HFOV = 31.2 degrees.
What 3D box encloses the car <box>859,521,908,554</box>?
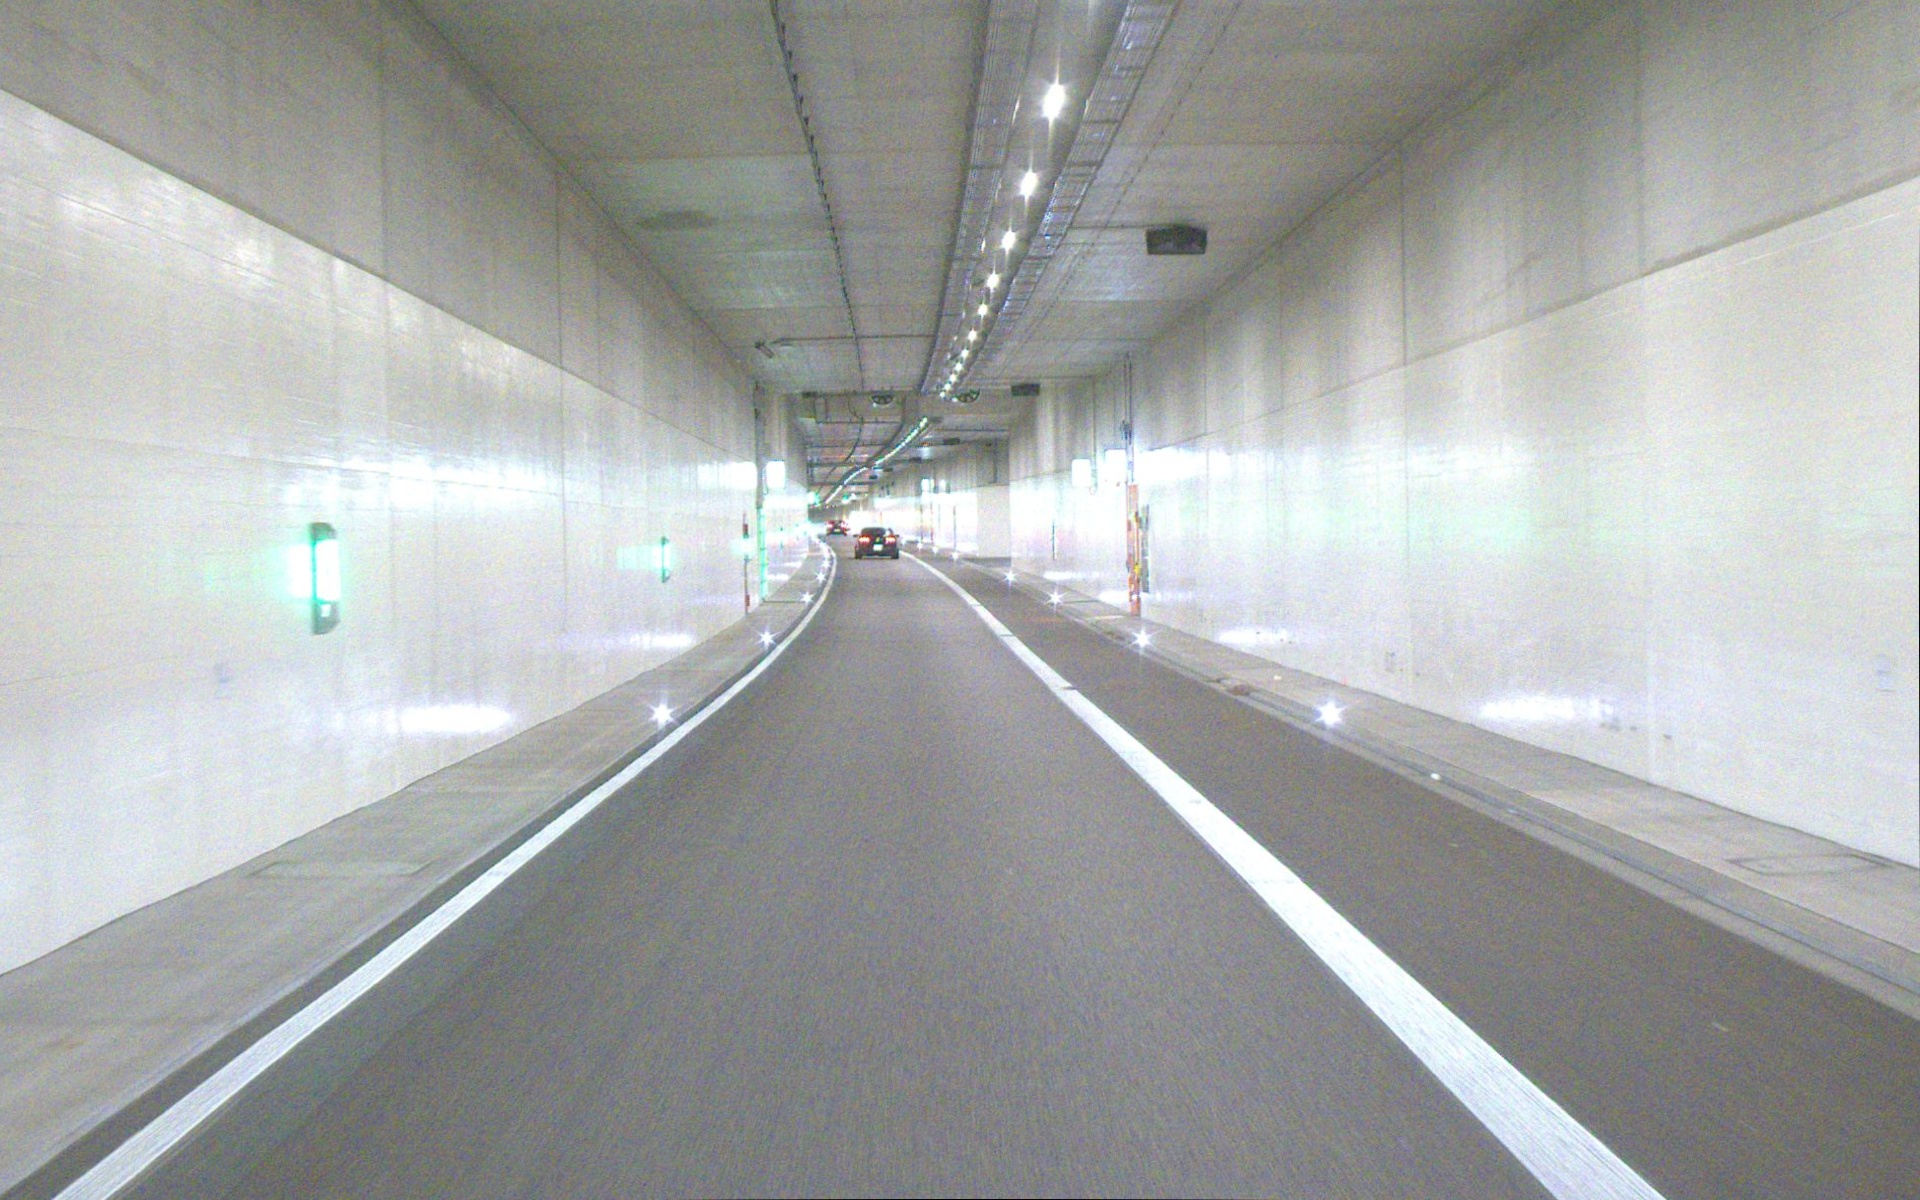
[{"bbox_3d":[-3.309,-2.708,148.294,1.993,1.415,4.001,0,1,-3],"label":"car"}]
